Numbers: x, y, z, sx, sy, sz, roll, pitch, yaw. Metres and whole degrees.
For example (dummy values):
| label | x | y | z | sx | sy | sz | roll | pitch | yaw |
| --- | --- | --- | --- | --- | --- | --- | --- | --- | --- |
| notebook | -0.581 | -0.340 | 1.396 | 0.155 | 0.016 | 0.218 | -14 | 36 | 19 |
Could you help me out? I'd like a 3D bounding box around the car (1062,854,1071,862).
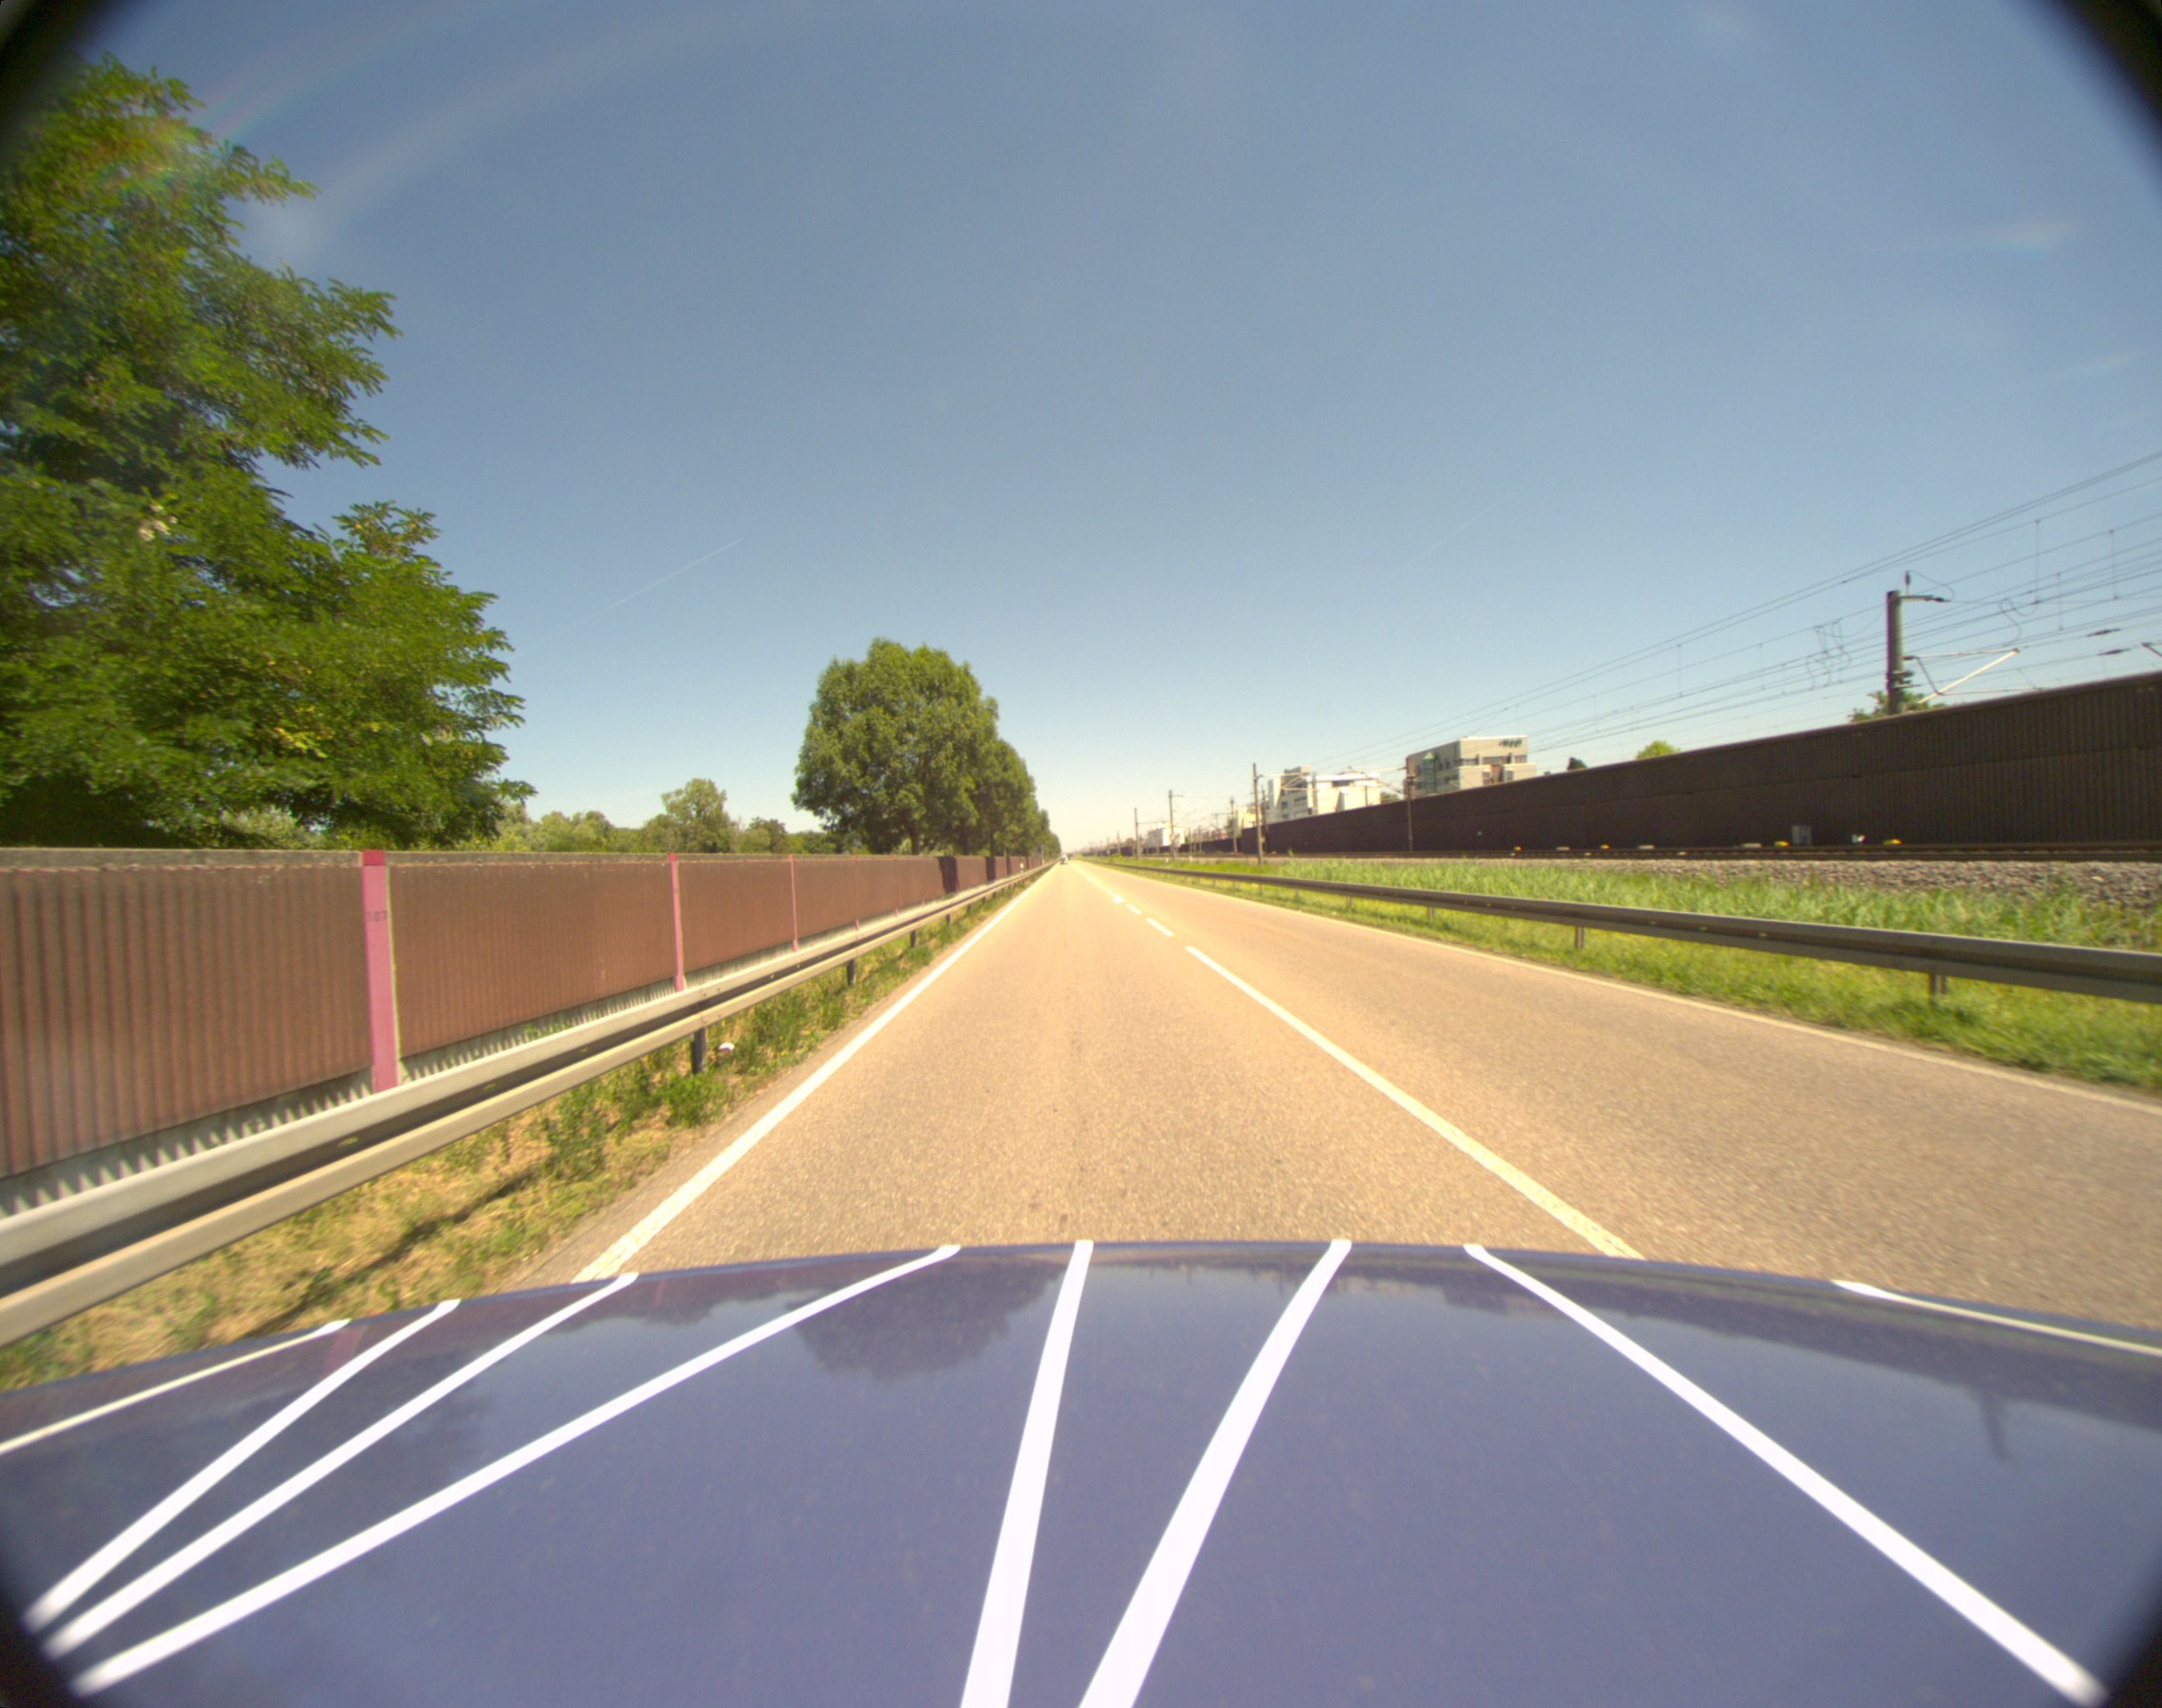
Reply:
| label | x | y | z | sx | sy | sz | roll | pitch | yaw |
| --- | --- | --- | --- | --- | --- | --- | --- | --- | --- |
| car | -3.622 | 1.007 | 187.518 | 1.998 | 2.002 | 4.000 | -2 | 0 | 2 |
